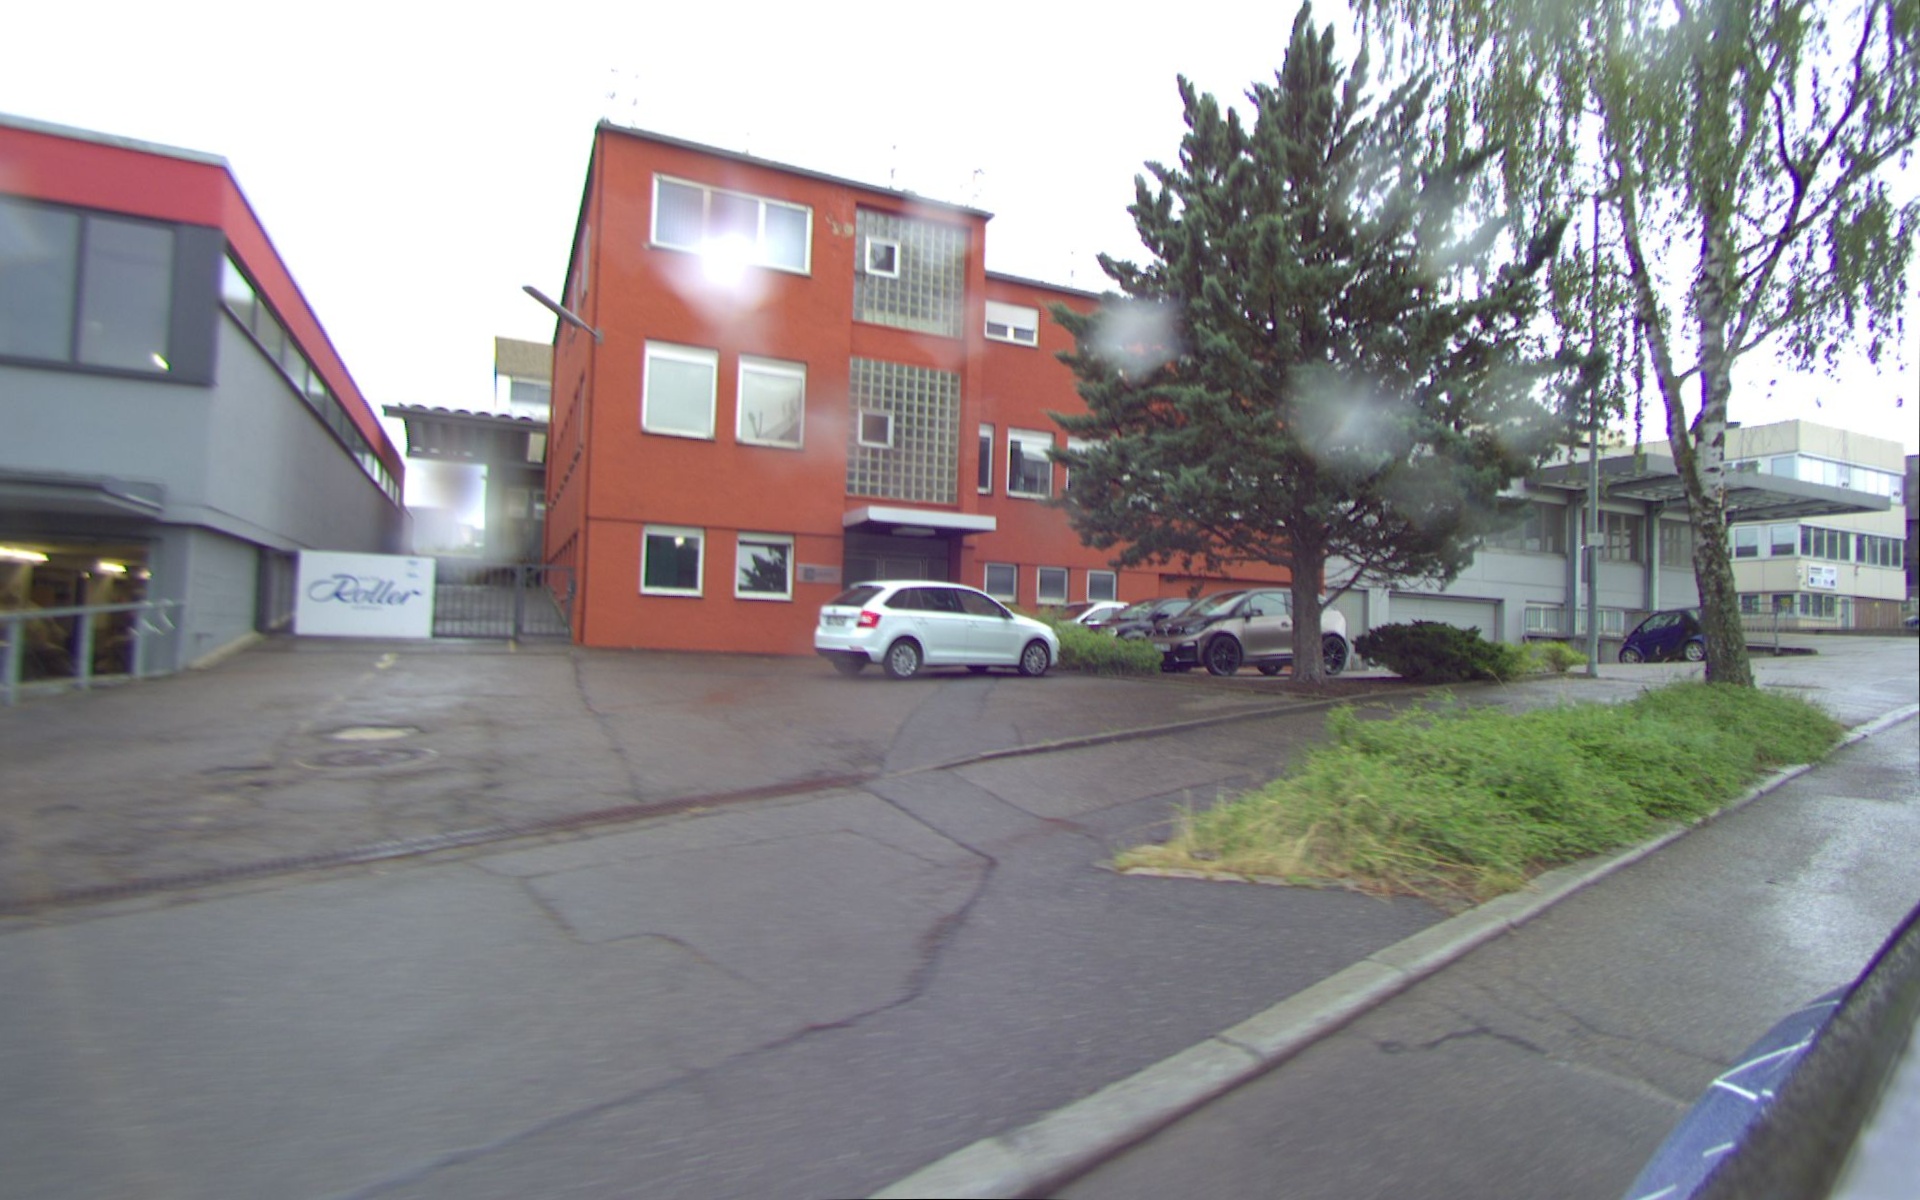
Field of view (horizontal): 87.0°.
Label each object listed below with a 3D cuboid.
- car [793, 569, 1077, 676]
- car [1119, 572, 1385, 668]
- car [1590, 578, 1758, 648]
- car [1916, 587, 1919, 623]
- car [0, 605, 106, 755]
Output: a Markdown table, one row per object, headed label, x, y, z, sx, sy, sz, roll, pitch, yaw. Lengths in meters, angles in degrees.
| label | x | y | z | sx | sy | sz | roll | pitch | yaw |
| --- | --- | --- | --- | --- | --- | --- | --- | --- | --- |
| car | -0.323 | 0.291 | 16.205 | 4.249 | 1.489 | 1.909 | 0 | 1 | -38 |
| car | 5.379 | 0.345 | 18.680 | 4.417 | 1.599 | 2.005 | 0 | -1 | -23 |
| car | 20.110 | 0.410 | 28.684 | 1.584 | 1.520 | 3.448 | 0 | -8 | -20 |
| car | 42.679 | 0.198 | 42.194 | 1.598 | 1.559 | 3.756 | -1 | 0 | -28 |
| car | -11.392 | 0.864 | 11.834 | 1.597 | 1.514 | 3.048 | 0 | 1 | -29 |
